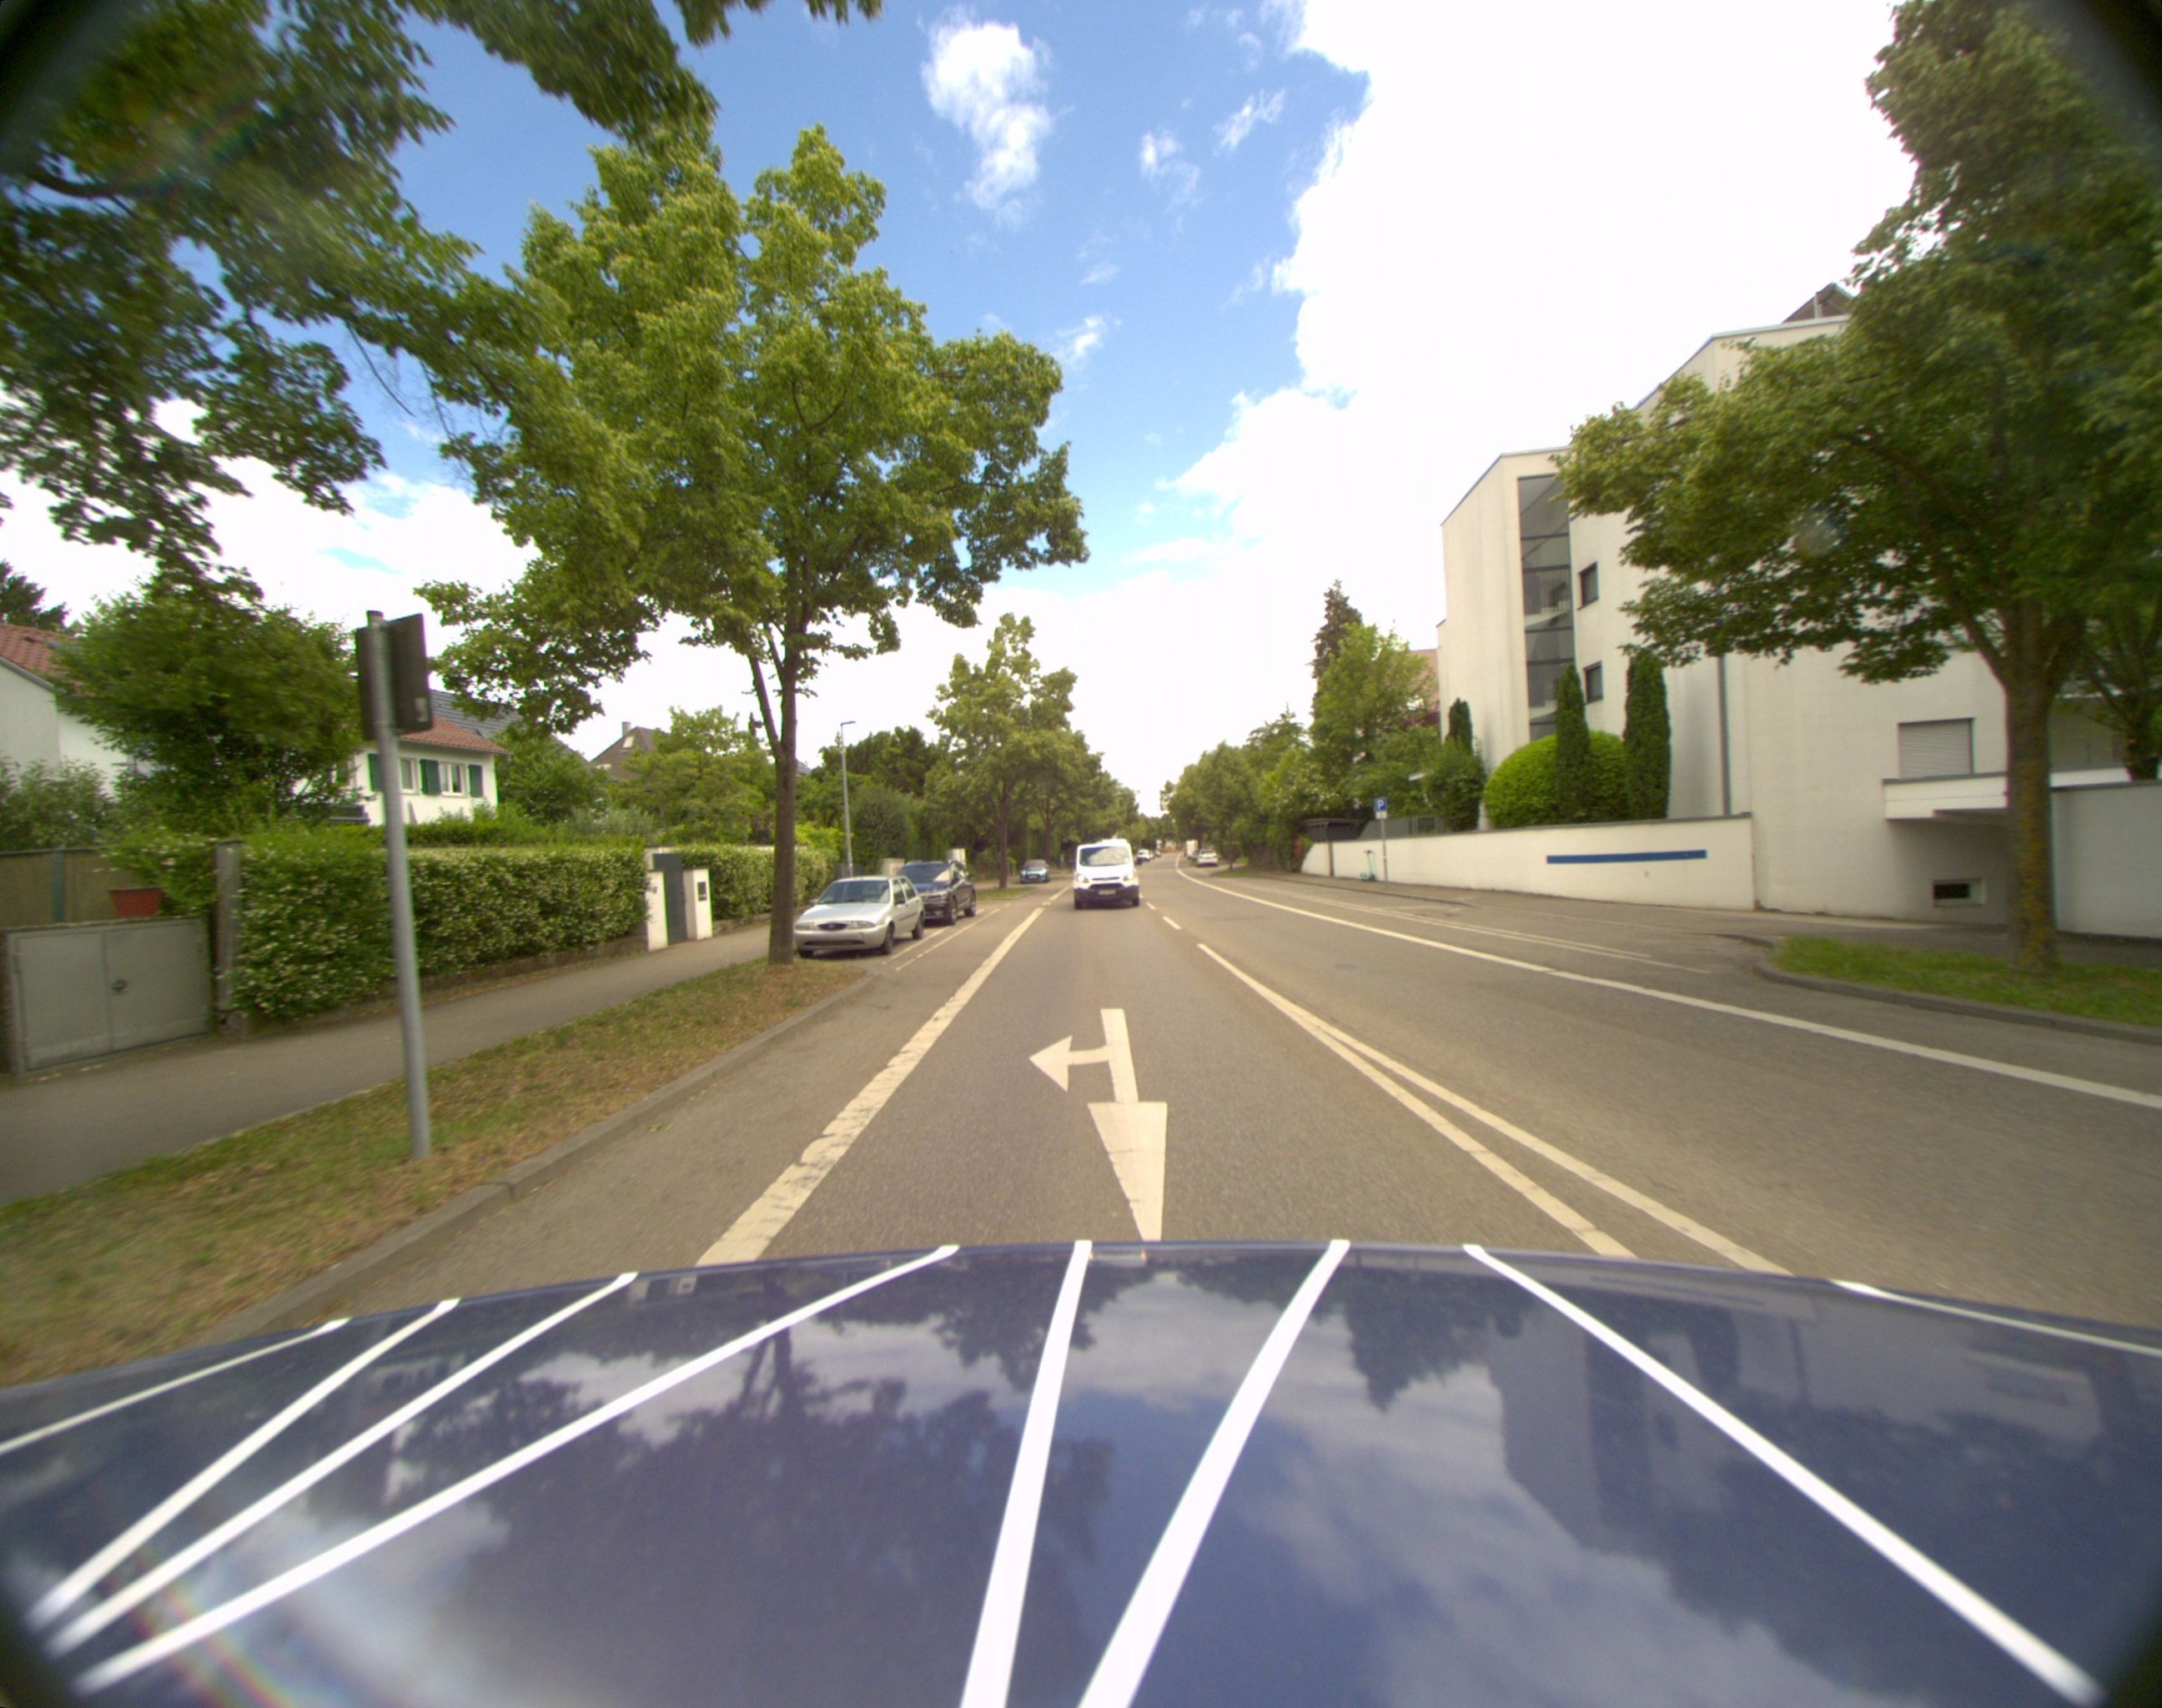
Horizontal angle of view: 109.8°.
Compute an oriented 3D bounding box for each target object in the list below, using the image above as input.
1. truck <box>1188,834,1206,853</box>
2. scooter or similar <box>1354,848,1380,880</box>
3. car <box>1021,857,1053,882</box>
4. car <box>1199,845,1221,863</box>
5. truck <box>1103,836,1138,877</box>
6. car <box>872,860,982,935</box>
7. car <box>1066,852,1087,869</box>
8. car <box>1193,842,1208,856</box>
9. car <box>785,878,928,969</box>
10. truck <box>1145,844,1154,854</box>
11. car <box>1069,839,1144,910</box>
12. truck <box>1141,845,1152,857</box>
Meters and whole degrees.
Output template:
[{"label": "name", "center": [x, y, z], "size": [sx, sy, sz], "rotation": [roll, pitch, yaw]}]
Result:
[{"label": "truck", "center": [19.026, -1.741, 124.957], "size": [2.640, 2.757, 6.259], "rotation": [-3, 1, 7]}, {"label": "scooter or similar", "center": [10.977, 0.383, 29.185], "size": [0.434, 1.159, 1.327], "rotation": [-6, 0, 2]}, {"label": "car", "center": [-2.745, 0.966, 48.352], "size": [1.666, 1.398, 3.657], "rotation": [-3, 1, 1]}, {"label": "car", "center": [12.224, -0.016, 72.027], "size": [1.916, 1.643, 4.002], "rotation": [-3, 0, 8]}, {"label": "truck", "center": [2.581, 0.147, 51.268], "size": [2.036, 2.555, 6.057], "rotation": [-2, 0, 1]}, {"label": "car", "center": [-3.925, 1.042, 20.174], "size": [1.770, 1.626, 4.548], "rotation": [-3, 0, 2]}, {"label": "car", "center": [-0.436, 0.625, 77.355], "size": [1.776, 1.588, 3.815], "rotation": [-3, 0, 4]}, {"label": "car", "center": [15.566, -0.668, 99.110], "size": [1.888, 1.606, 4.002], "rotation": [-3, 0, 8]}, {"label": "car", "center": [-4.068, 1.205, 14.339], "size": [1.561, 1.343, 3.540], "rotation": [-2, 0, 1]}, {"label": "truck", "center": [12.533, -0.901, 139.200], "size": [1.618, 1.649, 4.001], "rotation": [-2, 0, 6]}, {"label": "car", "center": [0.937, 0.600, 24.642], "size": [2.074, 1.956, 5.559], "rotation": [-2, 0, 4]}, {"label": "truck", "center": [9.981, -0.506, 115.504], "size": [1.614, 1.780, 4.001], "rotation": [-2, 0, 6]}]
